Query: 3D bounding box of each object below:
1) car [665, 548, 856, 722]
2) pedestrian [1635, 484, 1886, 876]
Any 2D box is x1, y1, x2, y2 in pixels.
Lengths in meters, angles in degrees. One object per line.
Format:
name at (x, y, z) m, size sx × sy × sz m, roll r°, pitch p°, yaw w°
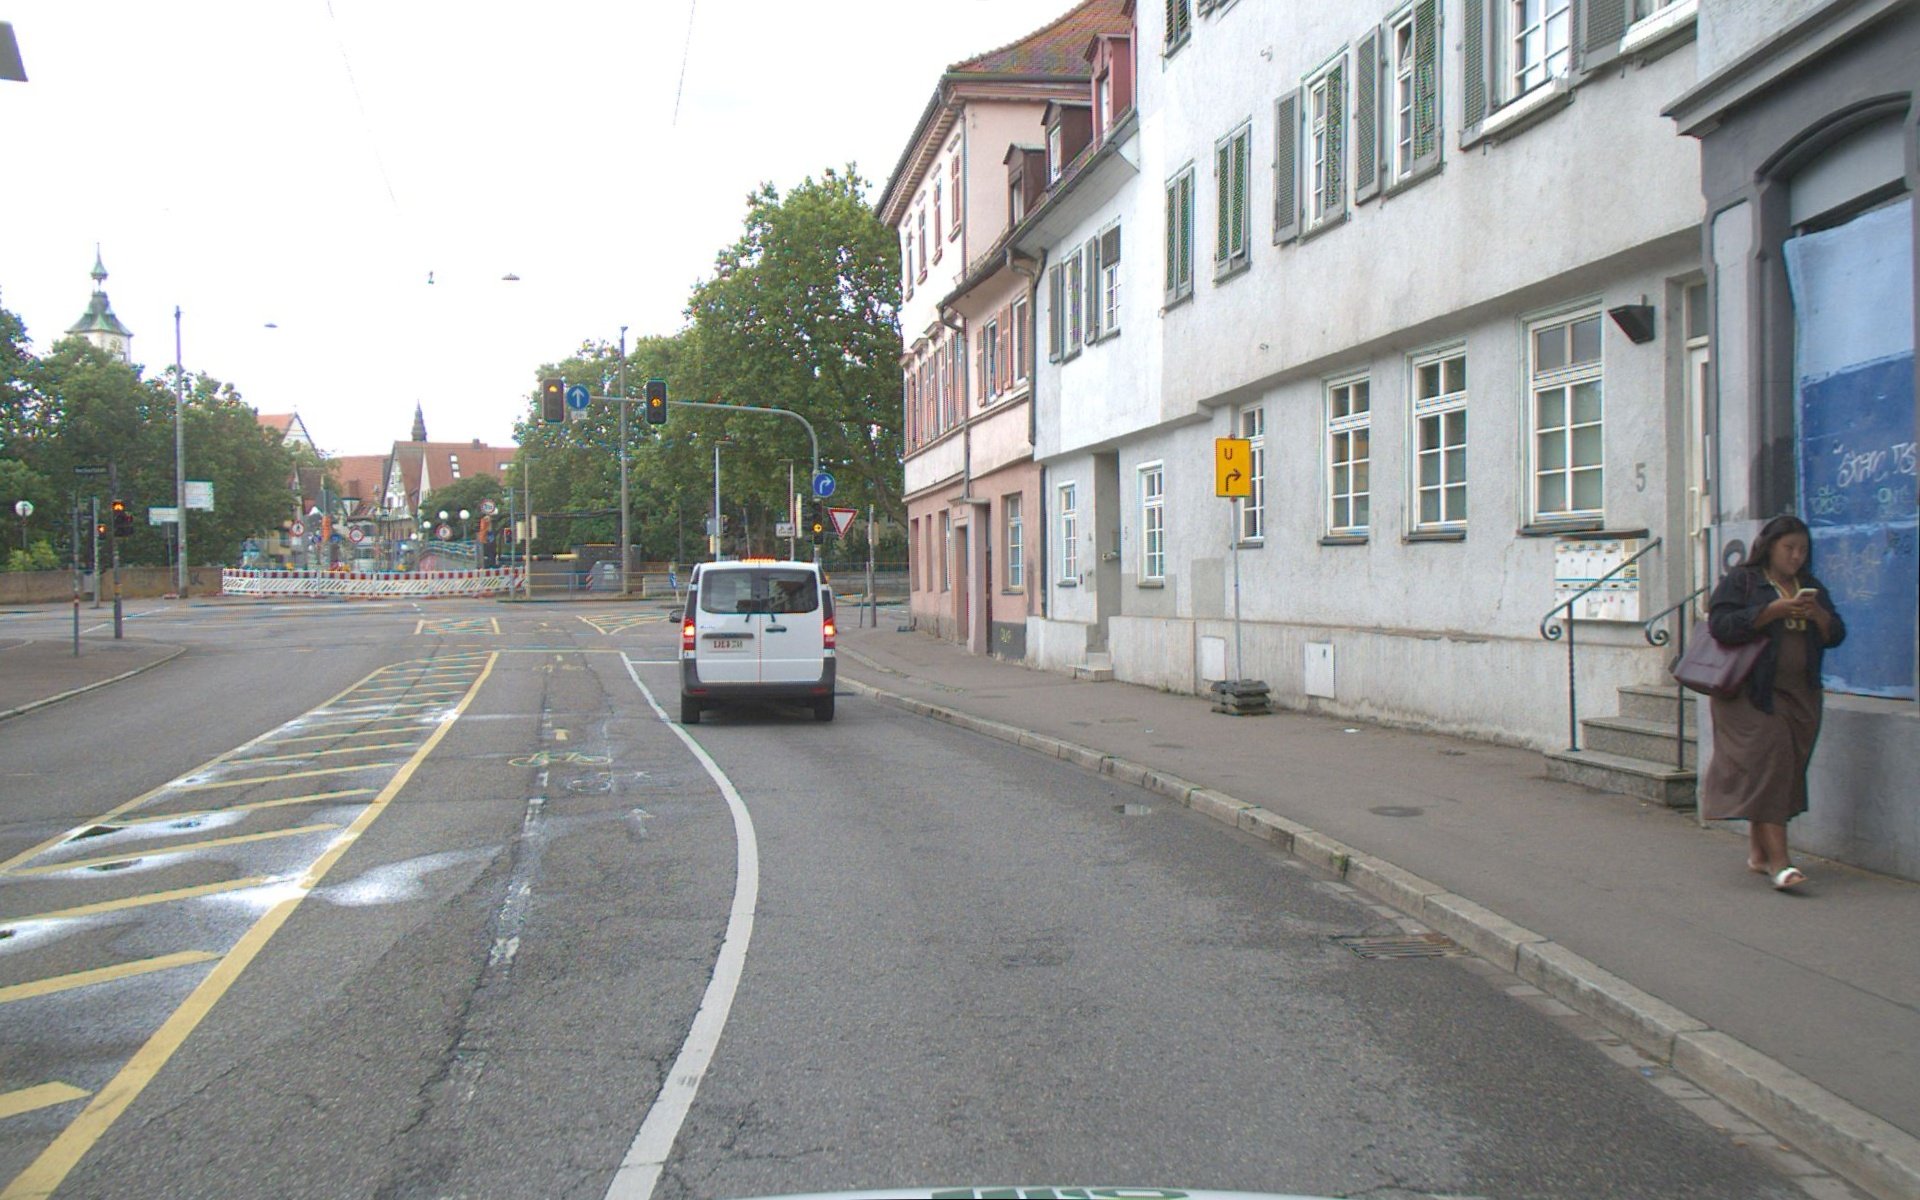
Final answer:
car at (-2.631, 0.439, 20.927) m, size 1.959 × 1.957 × 4.234 m, roll 0°, pitch -1°, yaw -13°
pedestrian at (3.672, 0.345, 7.654) m, size 0.739 × 1.696 × 0.809 m, roll 2°, pitch 0°, yaw 2°
